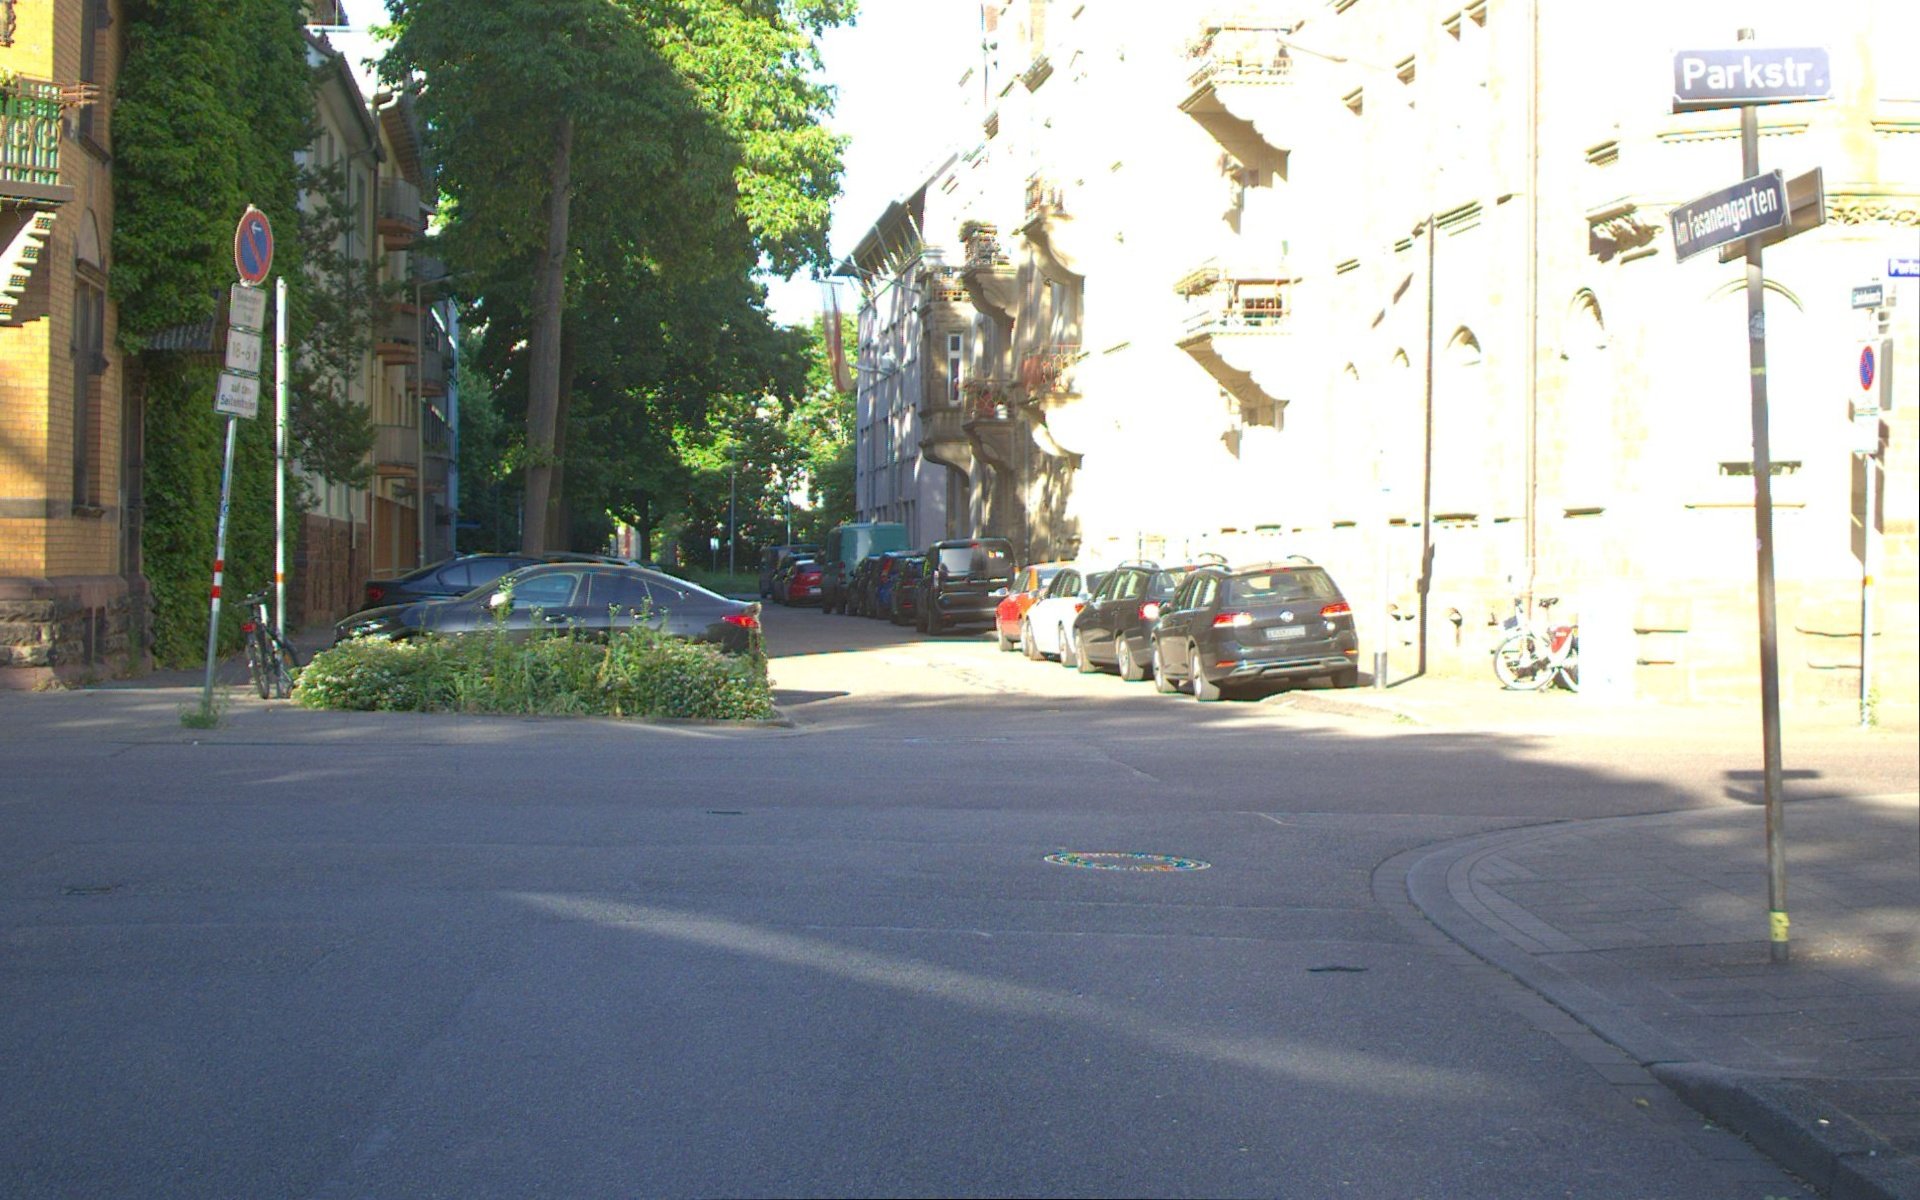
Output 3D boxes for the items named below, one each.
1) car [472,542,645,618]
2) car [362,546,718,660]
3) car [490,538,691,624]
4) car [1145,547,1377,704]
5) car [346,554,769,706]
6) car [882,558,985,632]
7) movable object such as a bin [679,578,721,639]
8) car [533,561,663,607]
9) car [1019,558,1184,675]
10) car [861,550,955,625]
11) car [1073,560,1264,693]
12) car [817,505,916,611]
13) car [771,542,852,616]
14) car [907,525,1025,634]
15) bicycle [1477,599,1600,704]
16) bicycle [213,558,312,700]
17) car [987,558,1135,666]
[{"bbox_3d":[-9.076,-0.456,77.559,3.800,1.570,1.710,2,0,-8],"label":"car"},{"bbox_3d":[-5.885,0.042,48.209,4.833,1.430,1.710,2,0,-8],"label":"car"},{"bbox_3d":[-7.287,-0.371,67.691,3.800,1.570,1.710,2,0,-10],"label":"car"},{"bbox_3d":[3.239,0.250,37.739,1.737,1.576,4.001,2,0,-6],"label":"car"},{"bbox_3d":[-4.220,0.304,36.015,4.242,1.430,2.000,2,0,-8],"label":"car"},{"bbox_3d":[-0.600,-0.130,74.752,1.802,1.509,4.001,2,0,-6],"label":"car"},{"bbox_3d":[-4.521,0.146,59.694,0.629,1.049,0.568,2,0,-12],"label":"movable object such as a bin"},{"bbox_3d":[-10.906,-0.486,103.549,3.800,1.236,1.710,2,0,-8],"label":"car"},{"bbox_3d":[1.985,0.211,49.394,1.737,1.576,4.001,2,0,-6],"label":"car"},{"bbox_3d":[-1.256,-0.305,81.411,1.802,1.673,4.001,2,0,-6],"label":"car"},{"bbox_3d":[2.618,0.303,44.028,1.737,1.576,4.001,2,0,-6],"label":"car"},{"bbox_3d":[-2.531,-1.104,91.749,2.165,2.681,4.792,2,0,-6],"label":"car"},{"bbox_3d":[-4.724,-0.658,108.767,2.165,2.229,4.792,2,0,-6],"label":"car"},{"bbox_3d":[0.084,-0.405,66.366,1.802,1.997,4.001,2,0,-6],"label":"car"},{"bbox_3d":[5.783,0.502,34.457,0.514,0.994,1.576,2,0,-18],"label":"bicycle"},{"bbox_3d":[-6.401,0.252,31.603,0.563,1.264,1.603,0,1,1],"label":"bicycle"},{"bbox_3d":[1.548,0.164,53.997,1.737,1.576,4.001,2,0,-6],"label":"car"}]
